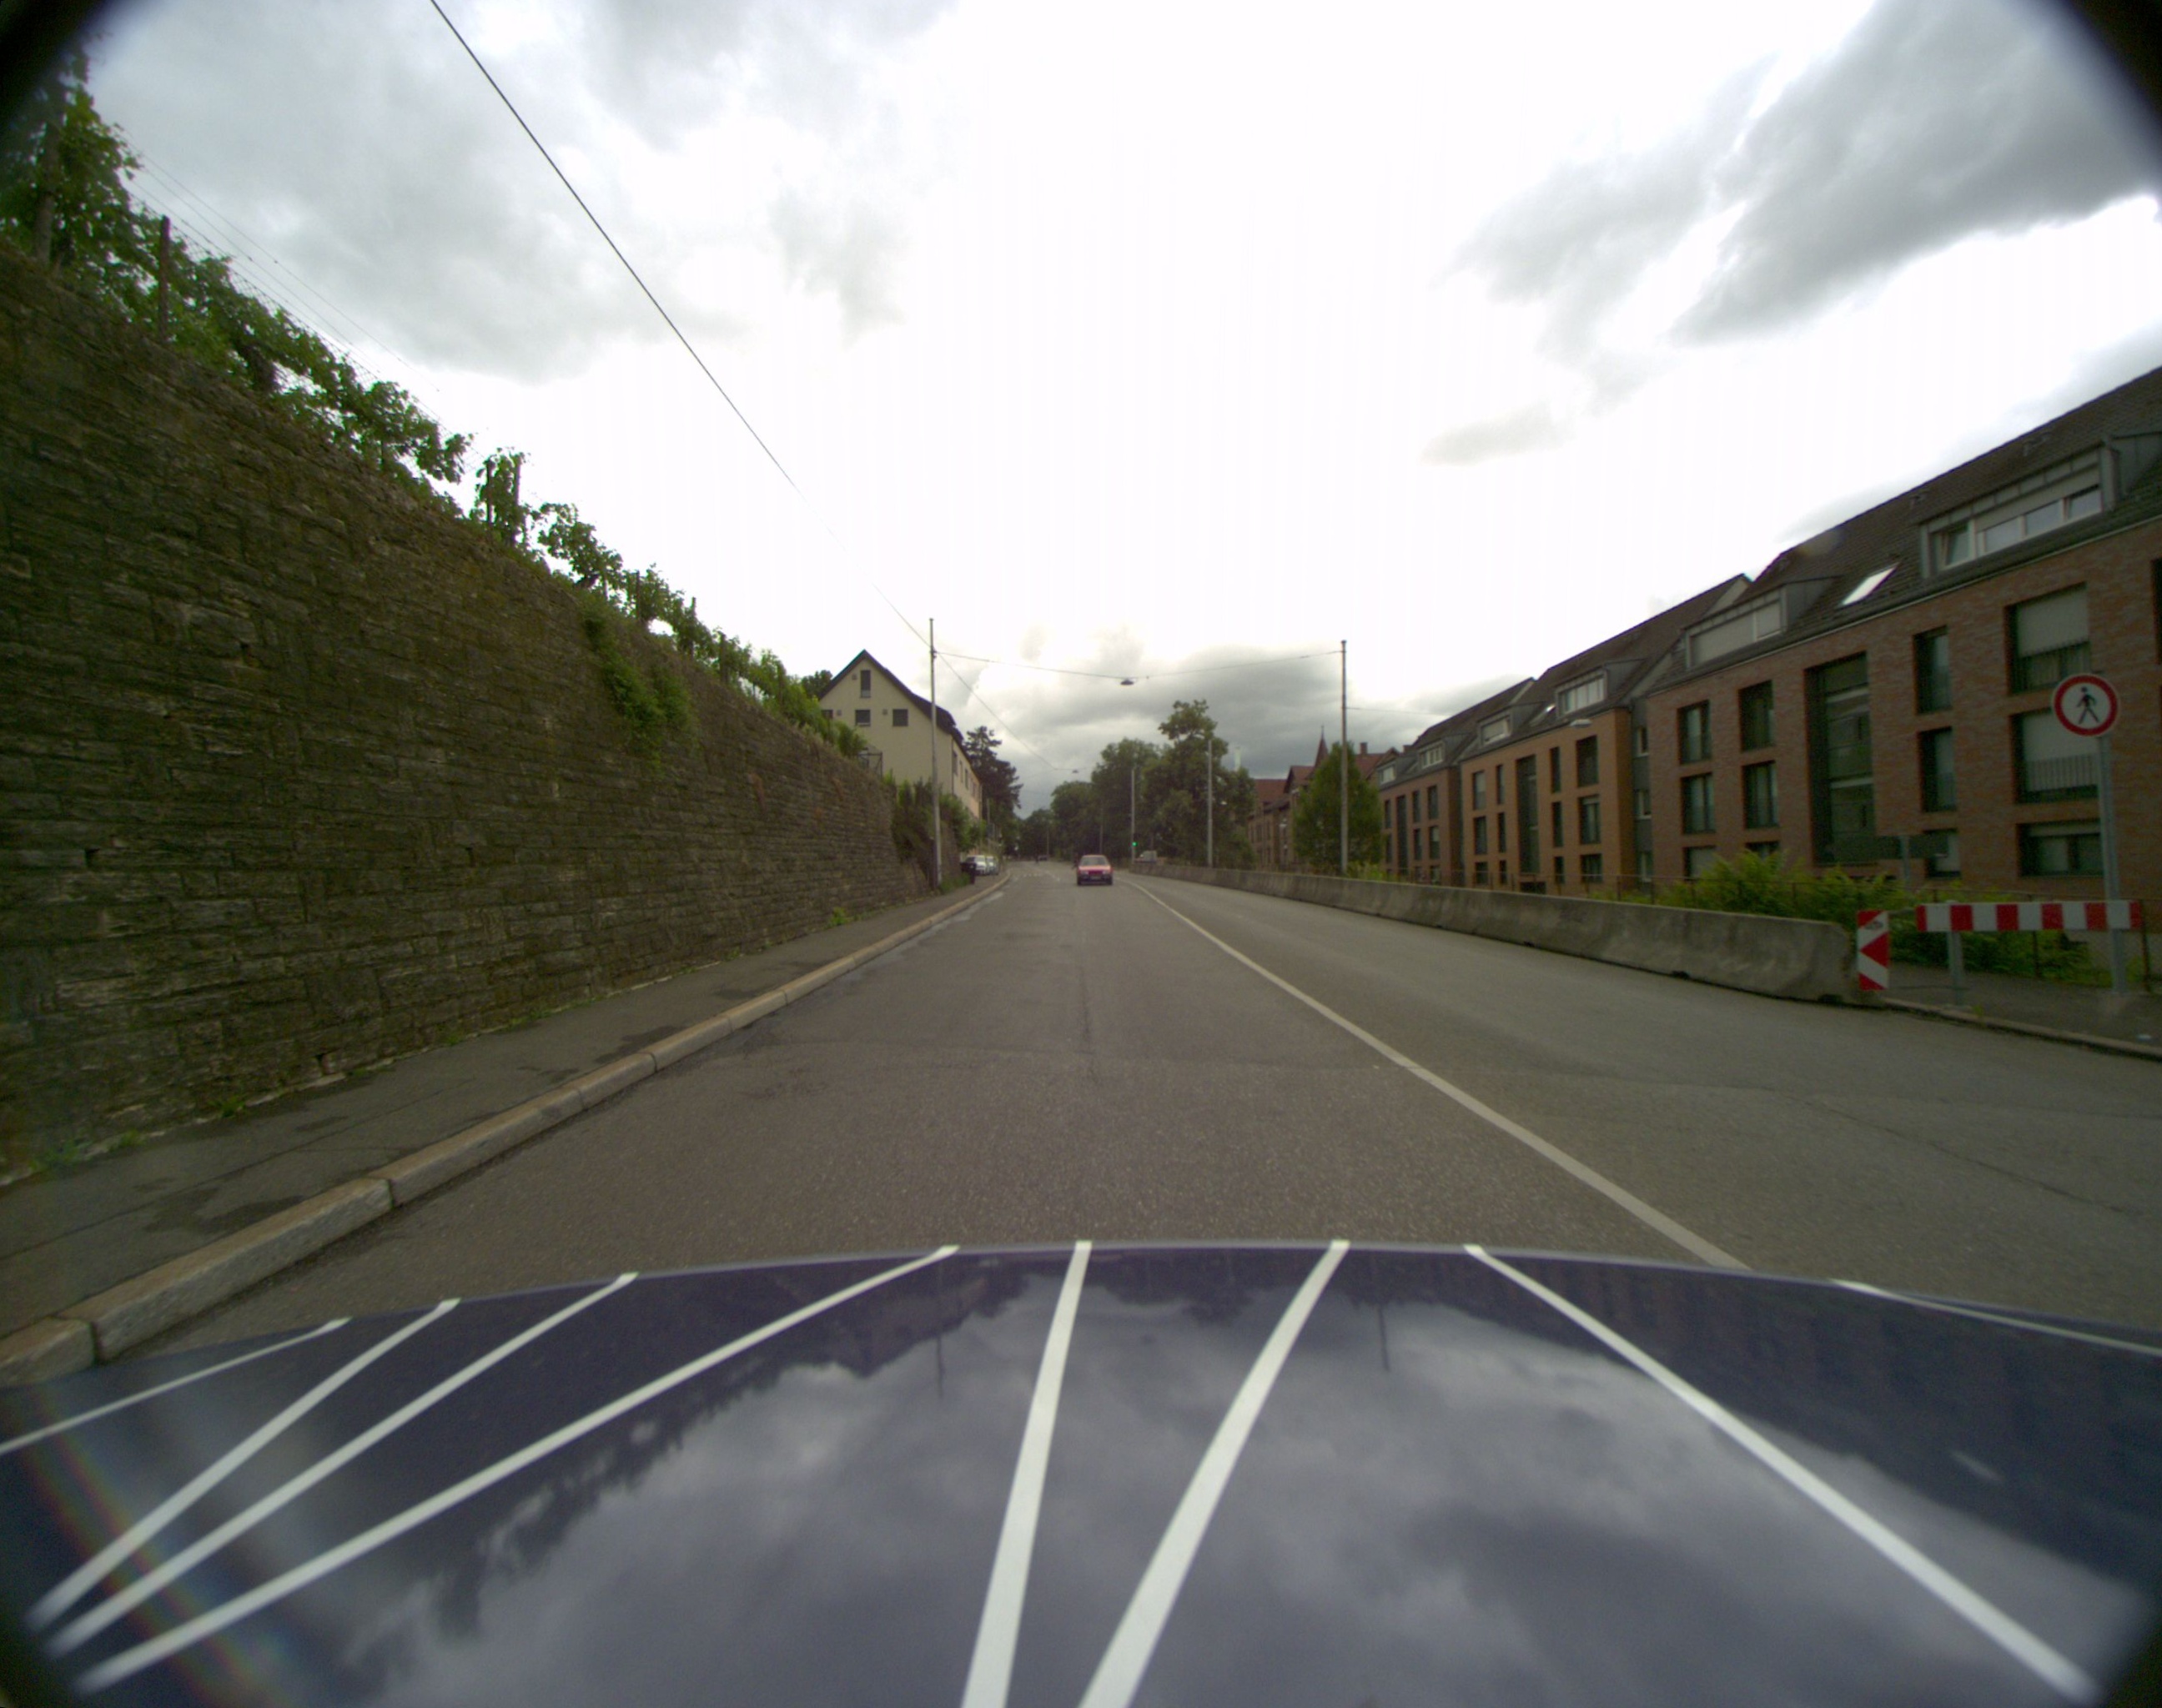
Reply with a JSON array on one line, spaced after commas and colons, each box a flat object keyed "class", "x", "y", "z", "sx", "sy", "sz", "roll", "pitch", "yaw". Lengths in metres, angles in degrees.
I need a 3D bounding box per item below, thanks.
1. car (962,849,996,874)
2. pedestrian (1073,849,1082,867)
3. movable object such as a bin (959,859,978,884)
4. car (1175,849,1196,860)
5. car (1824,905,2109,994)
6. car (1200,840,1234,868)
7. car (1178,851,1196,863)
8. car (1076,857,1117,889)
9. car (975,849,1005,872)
[{"class": "car", "x": -7.055, "y": 0.467, "z": 52.826, "sx": 1.799, "sy": 1.566, "sz": 4.054, "roll": -2, "pitch": 1, "yaw": 0}, {"class": "pedestrian", "x": -0.333, "y": 0.402, "z": 72.581, "sx": 0.735, "sy": 1.702, "sz": 0.696, "roll": -1, "pitch": 1, "yaw": 2}, {"class": "movable object such as a bin", "x": -5.358, "y": 0.825, "z": 36.225, "sx": 0.811, "sy": 1.120, "sz": 0.874, "roll": -1, "pitch": 1, "yaw": -1}, {"class": "car", "x": 12.669, "y": 0.053, "z": 91.982, "sx": 1.998, "sy": 1.346, "sz": 4.000, "roll": 0, "pitch": 0, "yaw": 0}, {"class": "car", "x": 20.559, "y": 2.144, "z": 17.954, "sx": 1.999, "sy": 1.652, "sz": 4.000, "roll": 1, "pitch": -1, "yaw": -2}, {"class": "car", "x": 13.357, "y": -0.015, "z": 75.123, "sx": 2.565, "sy": 2.567, "sz": 5.735, "roll": -2, "pitch": 1, "yaw": 3}, {"class": "car", "x": 14.630, "y": 0.444, "z": 105.059, "sx": 1.998, "sy": 1.543, "sz": 4.000, "roll": -1, "pitch": 0, "yaw": 0}, {"class": "car", "x": 0.681, "y": 0.884, "z": 36.107, "sx": 1.646, "sy": 1.429, "sz": 3.999, "roll": -1, "pitch": 0, "yaw": -3}, {"class": "car", "x": -6.910, "y": 0.481, "z": 57.783, "sx": 1.732, "sy": 1.566, "sz": 4.248, "roll": -2, "pitch": 1, "yaw": 0}]
